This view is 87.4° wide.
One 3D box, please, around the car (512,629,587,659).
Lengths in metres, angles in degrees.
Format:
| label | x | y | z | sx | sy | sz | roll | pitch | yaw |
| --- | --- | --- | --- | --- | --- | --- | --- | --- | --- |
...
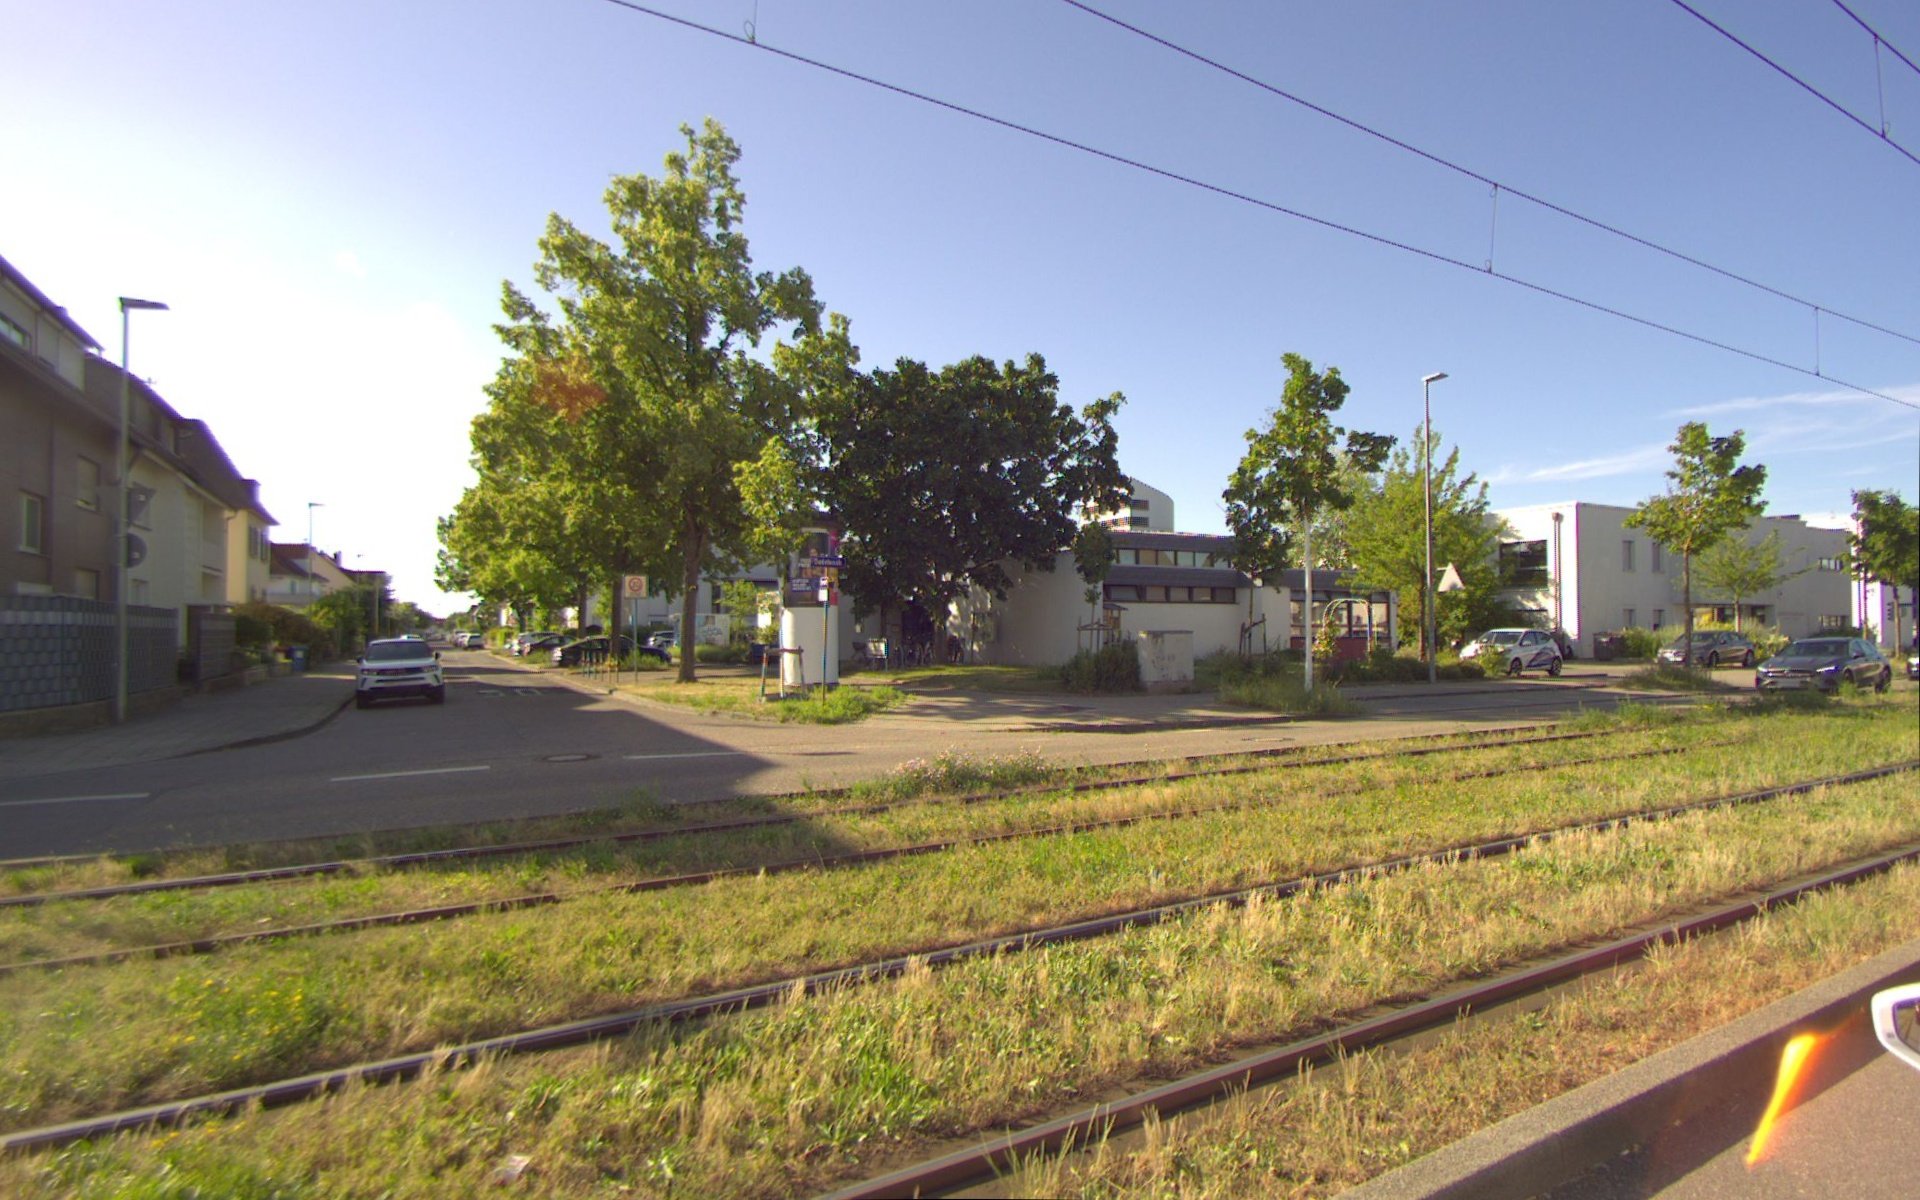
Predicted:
| label | x | y | z | sx | sy | sz | roll | pitch | yaw |
| --- | --- | --- | --- | --- | --- | --- | --- | --- | --- |
| car | -22.796 | 2.424 | 55.818 | 3.777 | 1.505 | 1.719 | 0 | 0 | -25 |

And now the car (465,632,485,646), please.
| label | x | y | z | sx | sy | sz | roll | pitch | yaw |
| --- | --- | --- | --- | --- | --- | --- | --- | --- | --- |
| car | -50.715 | 4.077 | 105.120 | 1.733 | 1.351 | 3.256 | 1 | -1 | -25 |

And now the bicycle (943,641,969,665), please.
| label | x | y | z | sx | sy | sz | roll | pitch | yaw |
| --- | --- | --- | --- | --- | --- | --- | --- | --- | --- |
| bicycle | -0.134 | 1.758 | 33.274 | 0.299 | 0.790 | 1.052 | 1 | -2 | -36 |

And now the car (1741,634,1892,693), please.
| label | x | y | z | sx | sy | sz | roll | pitch | yaw |
| --- | --- | --- | --- | --- | --- | --- | --- | --- | --- |
| car | 22.017 | 1.607 | 25.776 | 4.339 | 1.407 | 1.680 | 1 | -4 | -32 |

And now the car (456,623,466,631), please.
| label | x | y | z | sx | sy | sz | roll | pitch | yaw |
| --- | --- | --- | --- | --- | --- | --- | --- | --- | --- |
| car | -79.016 | 4.244 | 158.956 | 1.284 | 1.150 | 2.935 | 1 | -1 | -25 |

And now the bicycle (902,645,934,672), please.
| label | x | y | z | sx | sy | sz | roll | pitch | yaw |
| --- | --- | --- | --- | --- | --- | --- | --- | --- | --- |
| bicycle | -1.372 | 1.889 | 32.661 | 0.332 | 0.836 | 1.231 | 1 | -2 | -40 |

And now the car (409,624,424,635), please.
| label | x | y | z | sx | sy | sz | roll | pitch | yaw |
| --- | --- | --- | --- | --- | --- | --- | --- | --- | --- |
| car | -69.333 | 3.798 | 128.193 | 1.416 | 1.351 | 3.256 | 1 | -1 | -25 |

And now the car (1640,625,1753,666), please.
| label | x | y | z | sx | sy | sz | roll | pitch | yaw |
| --- | --- | --- | --- | --- | --- | --- | --- | --- | --- |
| car | 28.463 | 1.725 | 38.797 | 4.262 | 1.480 | 1.804 | 1 | -1 | -27 |

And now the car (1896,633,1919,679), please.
| label | x | y | z | sx | sy | sz | roll | pitch | yaw |
| --- | --- | --- | --- | --- | --- | --- | --- | --- | --- |
| car | 32.953 | 1.827 | 33.228 | 4.864 | 1.463 | 1.753 | 1 | -4 | -33 |

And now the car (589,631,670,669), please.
| label | x | y | z | sx | sy | sz | roll | pitch | yaw |
| --- | --- | --- | --- | --- | --- | --- | --- | --- | --- |
| car | -14.563 | 2.181 | 44.256 | 3.342 | 1.551 | 1.472 | 0 | 0 | -20 |

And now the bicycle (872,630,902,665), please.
| label | x | y | z | sx | sy | sz | roll | pitch | yaw |
| --- | --- | --- | --- | --- | --- | --- | --- | --- | --- |
| bicycle | -2.316 | 1.509 | 31.908 | 1.041 | 1.097 | 0.303 | -2 | -2 | 42 |

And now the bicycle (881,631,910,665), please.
| label | x | y | z | sx | sy | sz | roll | pitch | yaw |
| --- | --- | --- | --- | --- | --- | --- | --- | --- | --- |
| bicycle | -2.066 | 1.522 | 32.187 | 1.025 | 1.073 | 0.303 | -2 | -2 | 42 |

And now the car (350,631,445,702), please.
| label | x | y | z | sx | sy | sz | roll | pitch | yaw |
| --- | --- | --- | --- | --- | --- | --- | --- | --- | --- |
| car | -13.459 | 1.512 | 24.026 | 1.817 | 1.448 | 3.842 | -1 | 0 | -30 |

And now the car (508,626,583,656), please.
| label | x | y | z | sx | sy | sz | roll | pitch | yaw |
| --- | --- | --- | --- | --- | --- | --- | --- | --- | --- |
| car | -24.773 | 2.416 | 60.063 | 3.954 | 1.638 | 1.615 | 0 | 0 | -31 |

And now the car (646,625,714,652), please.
| label | x | y | z | sx | sy | sz | roll | pitch | yaw |
| --- | --- | --- | --- | --- | --- | --- | --- | --- | --- |
| car | -17.998 | 2.452 | 64.504 | 3.948 | 1.639 | 1.760 | 0 | 0 | -27 |

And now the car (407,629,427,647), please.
| label | x | y | z | sx | sy | sz | roll | pitch | yaw |
| --- | --- | --- | --- | --- | --- | --- | --- | --- | --- |
| car | -53.918 | 3.731 | 99.811 | 1.441 | 1.687 | 3.939 | 1 | -1 | -24 |

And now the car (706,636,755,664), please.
| label | x | y | z | sx | sy | sz | roll | pitch | yaw |
| --- | --- | --- | --- | --- | --- | --- | --- | --- | --- |
| car | -10.484 | 2.261 | 45.652 | 1.324 | 1.228 | 4.005 | 1 | -3 | -25 |

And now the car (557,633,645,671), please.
| label | x | y | z | sx | sy | sz | roll | pitch | yaw |
| --- | --- | --- | --- | --- | --- | --- | --- | --- | --- |
| car | -14.491 | 2.075 | 40.622 | 3.269 | 1.429 | 1.647 | 0 | 0 | -20 |

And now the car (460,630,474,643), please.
| label | x | y | z | sx | sy | sz | roll | pitch | yaw |
| --- | --- | --- | --- | --- | --- | --- | --- | --- | --- |
| car | -56.003 | 4.153 | 114.080 | 1.305 | 1.351 | 3.256 | 1 | -1 | -24 |

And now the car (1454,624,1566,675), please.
| label | x | y | z | sx | sy | sz | roll | pitch | yaw |
| --- | --- | --- | --- | --- | --- | --- | --- | --- | --- |
| car | 17.584 | 1.551 | 32.067 | 3.734 | 1.511 | 1.535 | 1 | -1 | -33 |

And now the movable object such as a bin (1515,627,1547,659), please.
| label | x | y | z | sx | sy | sz | roll | pitch | yaw |
| --- | --- | --- | --- | --- | --- | --- | --- | --- | --- |
| movable object such as a bin | 26.166 | 1.981 | 46.040 | 1.237 | 1.452 | 0.662 | 1 | 0 | -24 |

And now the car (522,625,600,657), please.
| label | x | y | z | sx | sy | sz | roll | pitch | yaw |
| --- | --- | --- | --- | --- | --- | --- | --- | --- | --- |
| car | -23.090 | 2.339 | 58.124 | 4.107 | 1.697 | 1.840 | 0 | 0 | -25 |
